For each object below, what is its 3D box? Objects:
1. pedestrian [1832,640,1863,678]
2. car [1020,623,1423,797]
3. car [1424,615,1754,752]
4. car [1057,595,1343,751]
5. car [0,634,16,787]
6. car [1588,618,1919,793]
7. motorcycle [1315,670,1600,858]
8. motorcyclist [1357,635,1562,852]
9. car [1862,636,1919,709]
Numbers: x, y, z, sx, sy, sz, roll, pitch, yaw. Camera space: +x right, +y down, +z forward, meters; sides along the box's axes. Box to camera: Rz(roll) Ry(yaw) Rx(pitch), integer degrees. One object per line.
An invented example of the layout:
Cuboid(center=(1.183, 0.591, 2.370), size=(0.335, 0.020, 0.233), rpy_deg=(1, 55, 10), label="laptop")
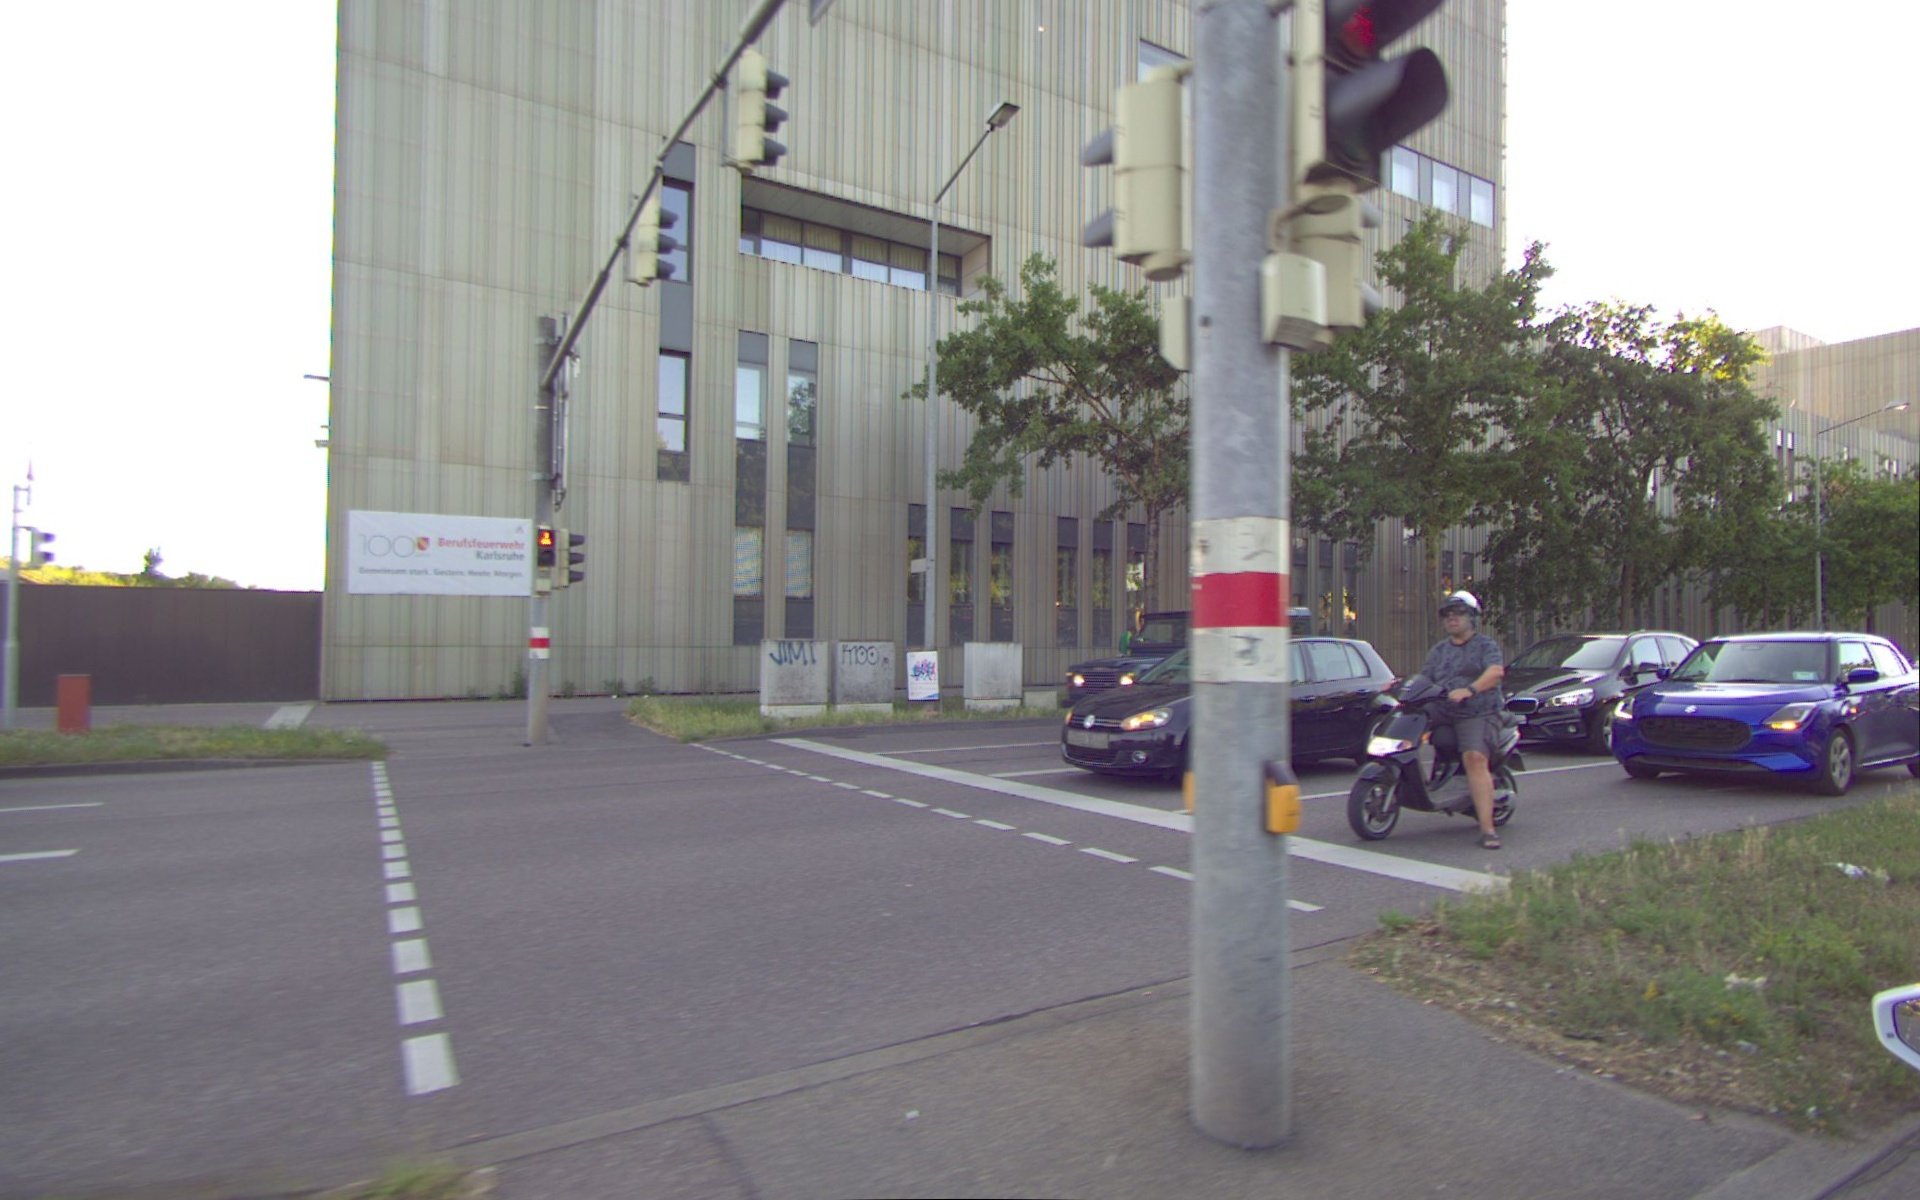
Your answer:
Cuboid(center=(48.866, 3.262, 55.302), size=(0.950, 2.040, 1.014), rpy_deg=(2, -1, -30), label="pedestrian")
Cuboid(center=(2.887, 1.086, 10.914), size=(4.035, 1.495, 1.983), rpy_deg=(3, -1, -32), label="car")
Cuboid(center=(8.762, 1.159, 13.902), size=(4.663, 1.612, 1.984), rpy_deg=(3, -6, -32), label="car")
Cuboid(center=(3.558, 1.031, 14.752), size=(3.949, 2.004, 1.786), rpy_deg=(1, -5, -32), label="car")
Cuboid(center=(-11.760, 1.022, 8.806), size=(4.663, 1.612, 1.984), rpy_deg=(3, -6, -32), label="car")
Cuboid(center=(8.316, 1.033, 10.162), size=(3.812, 1.470, 1.695), rpy_deg=(3, -6, -30), label="car")
Cuboid(center=(3.603, 1.072, 7.173), size=(2.379, 1.090, 0.834), rpy_deg=(2, -4, -37), label="motorcycle")
Cuboid(center=(3.556, 0.950, 7.141), size=(1.263, 1.367, 0.791), rpy_deg=(0, -3, -37), label="motorcyclist")
Cuboid(center=(21.404, 1.554, 21.382), size=(4.745, 1.470, 1.984), rpy_deg=(3, -6, -32), label="car")
